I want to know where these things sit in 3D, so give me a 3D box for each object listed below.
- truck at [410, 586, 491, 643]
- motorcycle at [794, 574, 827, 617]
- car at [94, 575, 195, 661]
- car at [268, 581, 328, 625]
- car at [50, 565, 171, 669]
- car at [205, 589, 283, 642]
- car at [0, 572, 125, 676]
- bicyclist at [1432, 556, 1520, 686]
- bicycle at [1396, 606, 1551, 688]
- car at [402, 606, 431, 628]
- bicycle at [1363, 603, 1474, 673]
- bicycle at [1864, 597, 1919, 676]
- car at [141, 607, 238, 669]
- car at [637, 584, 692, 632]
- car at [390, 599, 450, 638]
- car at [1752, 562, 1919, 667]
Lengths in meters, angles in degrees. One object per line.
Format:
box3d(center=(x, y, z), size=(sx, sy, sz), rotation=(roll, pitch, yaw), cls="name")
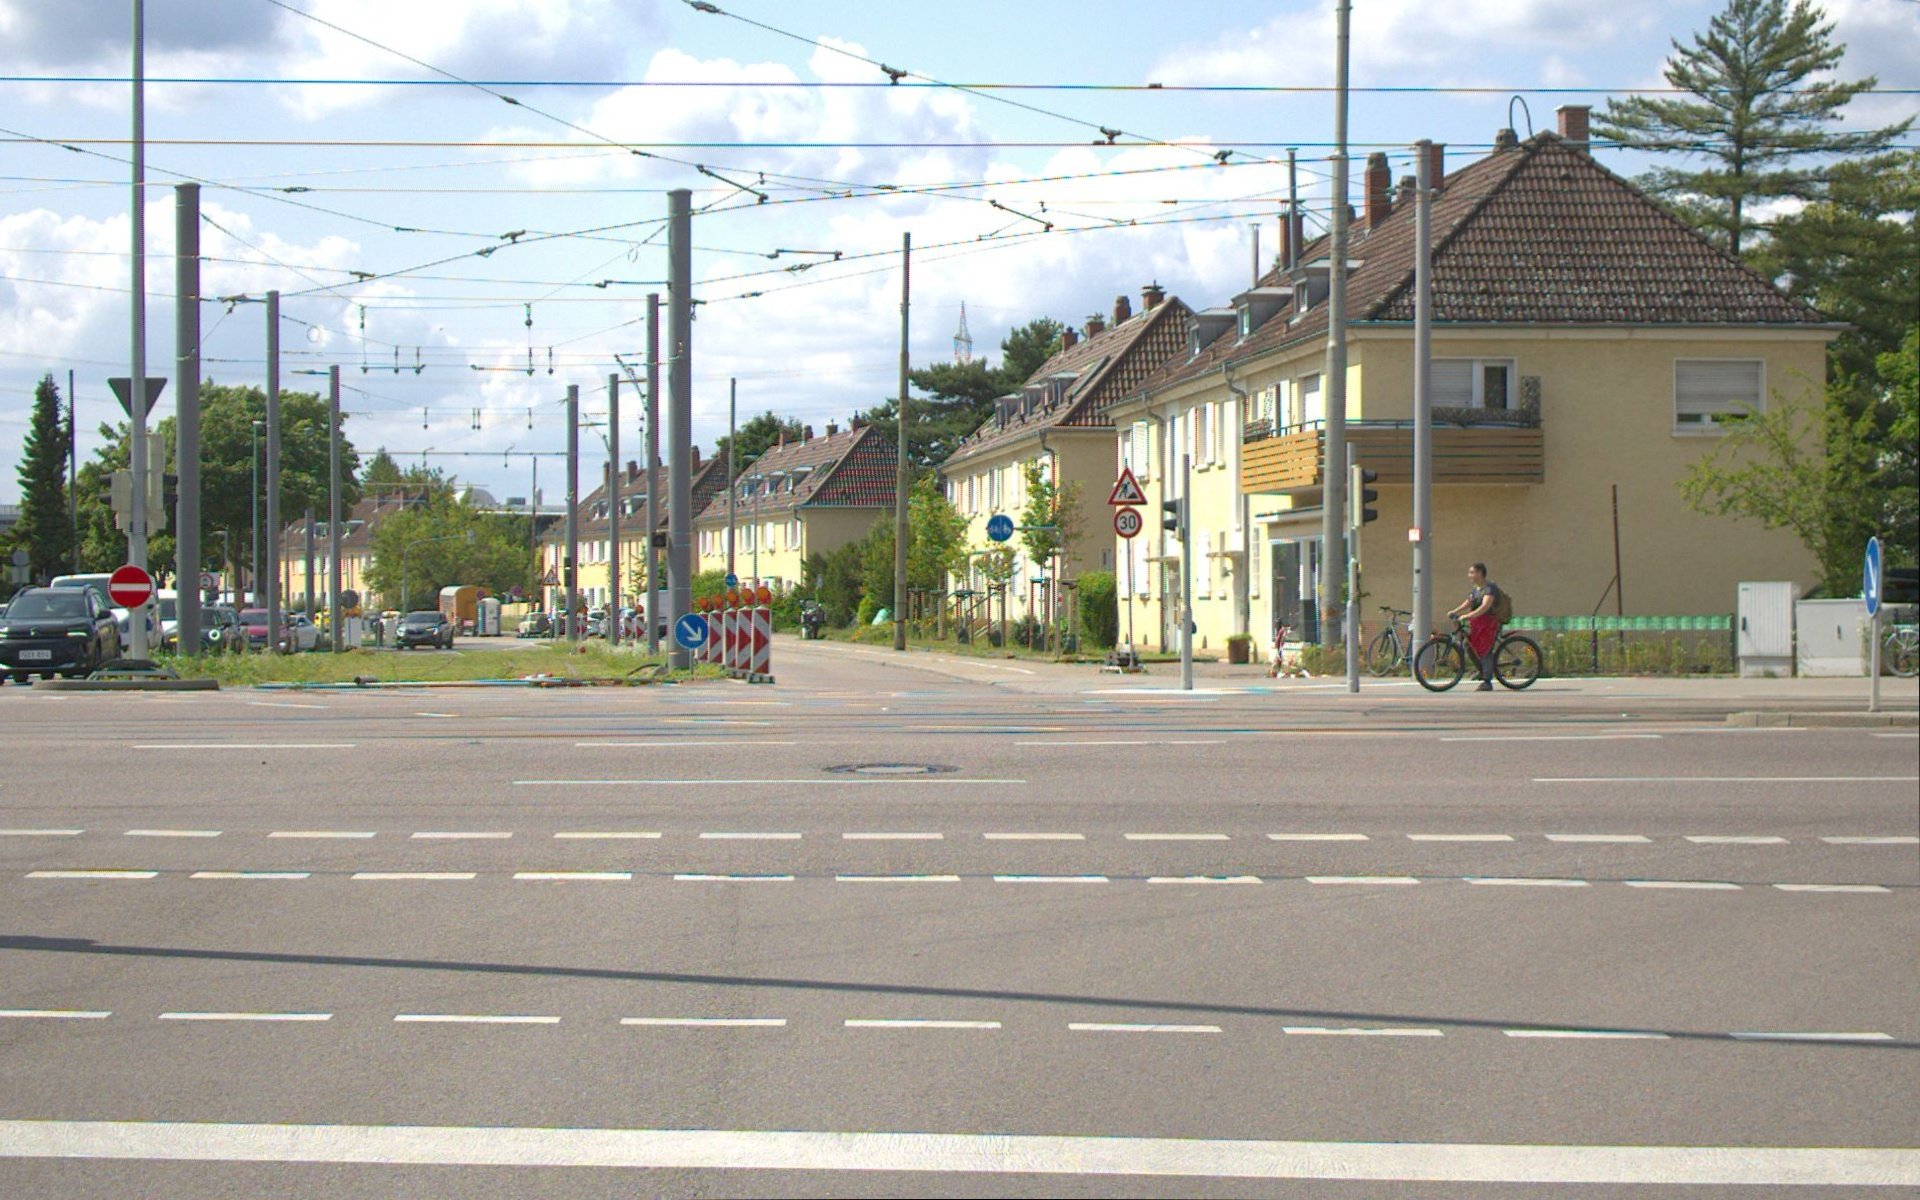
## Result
box3d(center=(-32.295, 0.910, 217.486), size=(2.640, 3.482, 9.439), rotation=(0, 0, -24), cls="truck")
box3d(center=(-5.744, -0.180, 131.961), size=(1.066, 1.630, 2.084), rotation=(0, 0, -8), cls="motorcycle")
box3d(center=(-17.481, 0.381, 73.804), size=(1.732, 1.776, 4.406), rotation=(0, 0, -9), cls="car")
box3d(center=(-24.039, 0.127, 124.942), size=(1.843, 1.556, 4.188), rotation=(0, 0, -7), cls="car")
box3d(center=(-16.255, 0.322, 65.933), size=(1.814, 1.915, 4.749), rotation=(0, 0, -9), cls="car")
box3d(center=(-21.001, 0.448, 100.987), size=(1.843, 1.489, 4.857), rotation=(0, 0, -7), cls="car")
box3d(center=(-15.646, 0.385, 59.516), size=(1.786, 1.715, 4.442), rotation=(0, 1, -7), cls="car")
box3d(center=(7.102, 0.288, 47.334), size=(0.957, 1.769, 0.720), rotation=(0, 0, -23), cls="bicyclist")
box3d(center=(7.068, 0.641, 47.318), size=(2.026, 1.098, 0.715), rotation=(0, 0, -24), cls="bicycle")
box3d(center=(-36.267, 1.127, 229.535), size=(1.257, 1.421, 2.666), rotation=(0, 0, -24), cls="car")
box3d(center=(7.288, 0.605, 54.767), size=(0.593, 1.093, 2.277), rotation=(0, 0, -26), cls="bicycle")
box3d(center=(13.693, 0.512, 48.287), size=(1.806, 1.101, 0.701), rotation=(0, 0, 39), cls="bicycle")
box3d(center=(-18.075, 0.874, 80.750), size=(1.914, 1.414, 4.001), rotation=(0, 0, -8), cls="car")
box3d(center=(-13.546, 0.363, 157.233), size=(2.065, 2.142, 4.879), rotation=(0, 0, -10), cls="car")
box3d(center=(-22.371, 0.747, 142.578), size=(1.819, 1.547, 4.000), rotation=(0, 1, 1), cls="car")
box3d(center=(14.422, 0.255, 55.351), size=(1.821, 1.615, 4.001), rotation=(0, -1, -10), cls="car")
